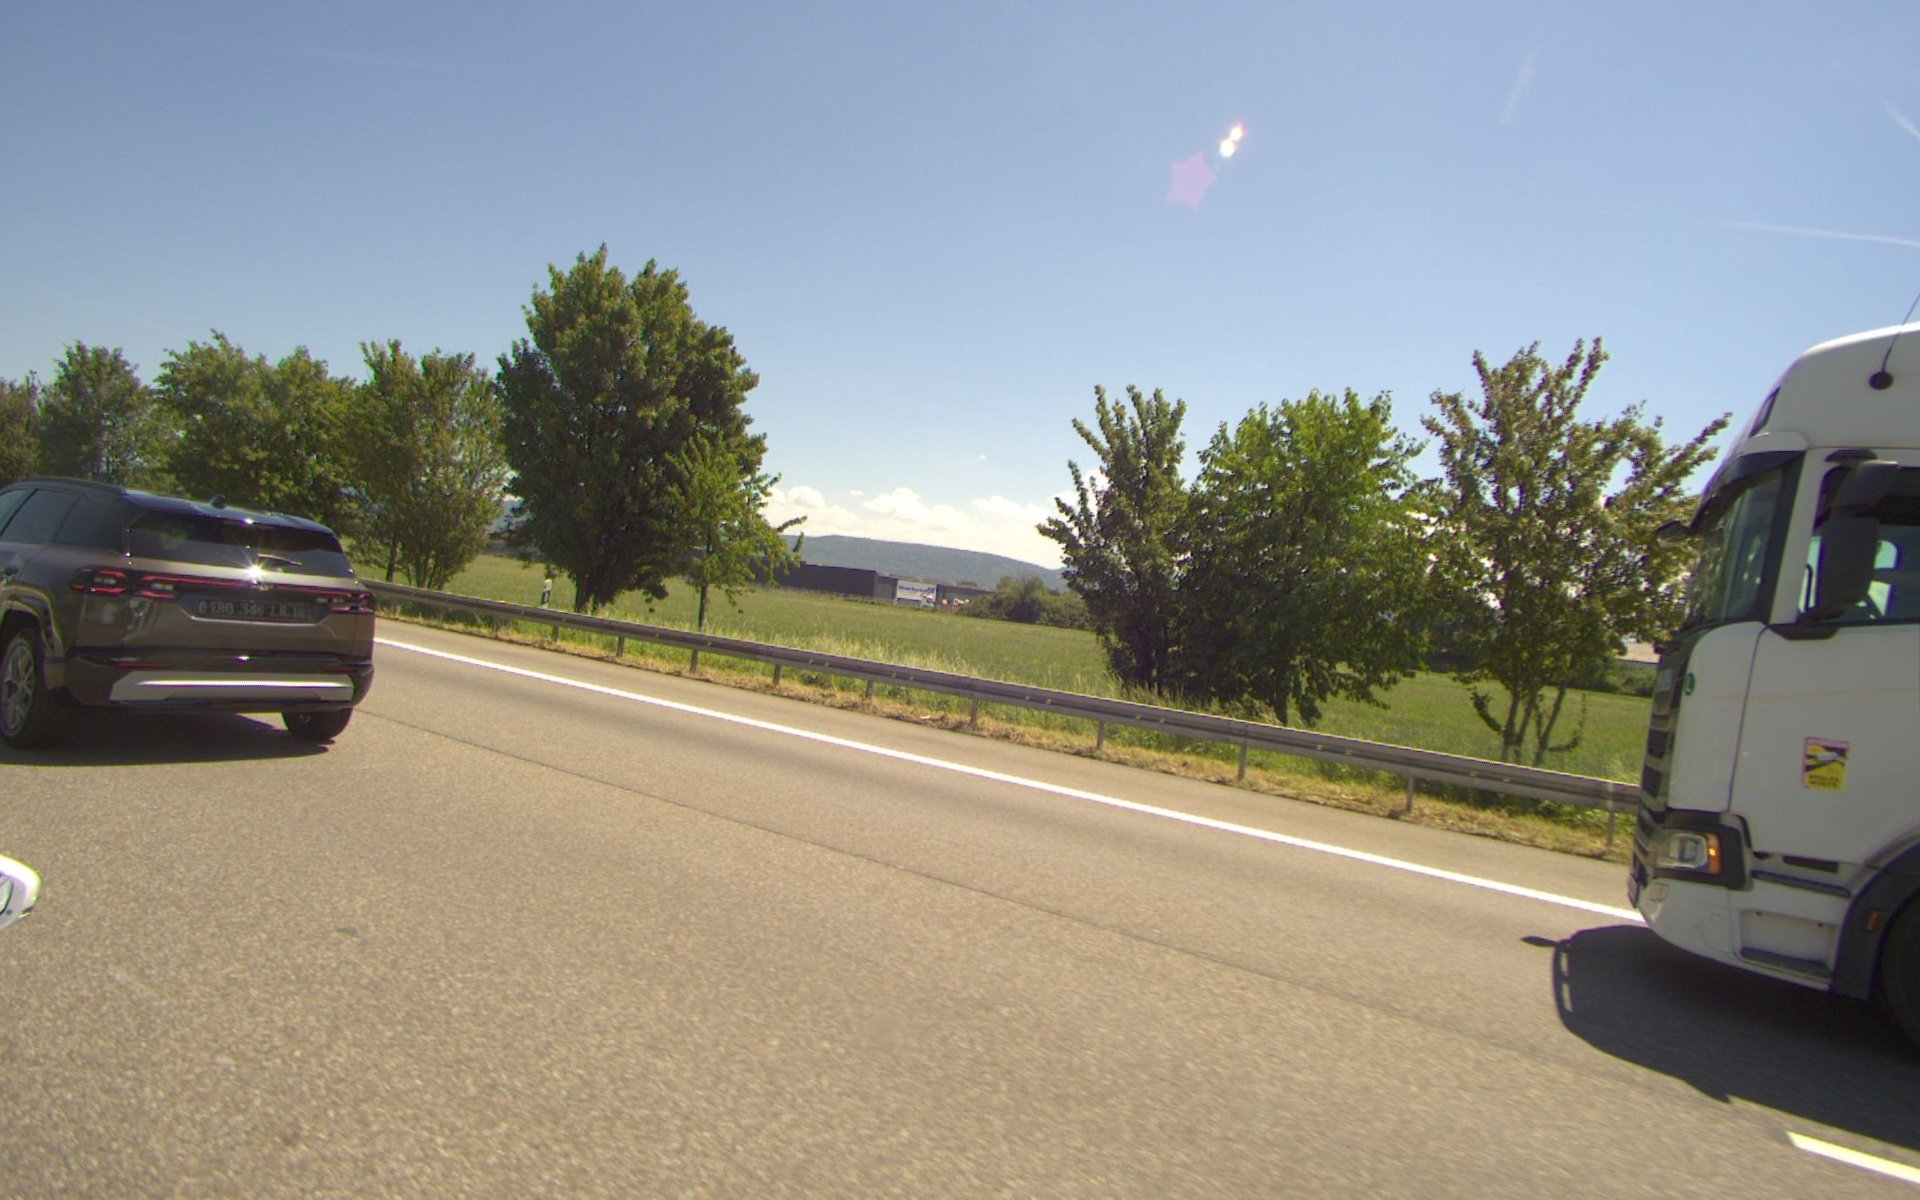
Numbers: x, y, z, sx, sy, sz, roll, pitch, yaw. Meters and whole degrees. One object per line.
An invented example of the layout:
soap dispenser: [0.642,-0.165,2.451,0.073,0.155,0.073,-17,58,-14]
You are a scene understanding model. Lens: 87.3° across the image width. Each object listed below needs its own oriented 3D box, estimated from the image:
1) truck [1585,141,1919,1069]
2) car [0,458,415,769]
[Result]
truck: [7.272,0.331,4.607,7.075,4.355,2.814,6,-1,33]
car: [-6.414,-0.040,7.558,4.667,1.694,1.871,6,-2,32]
